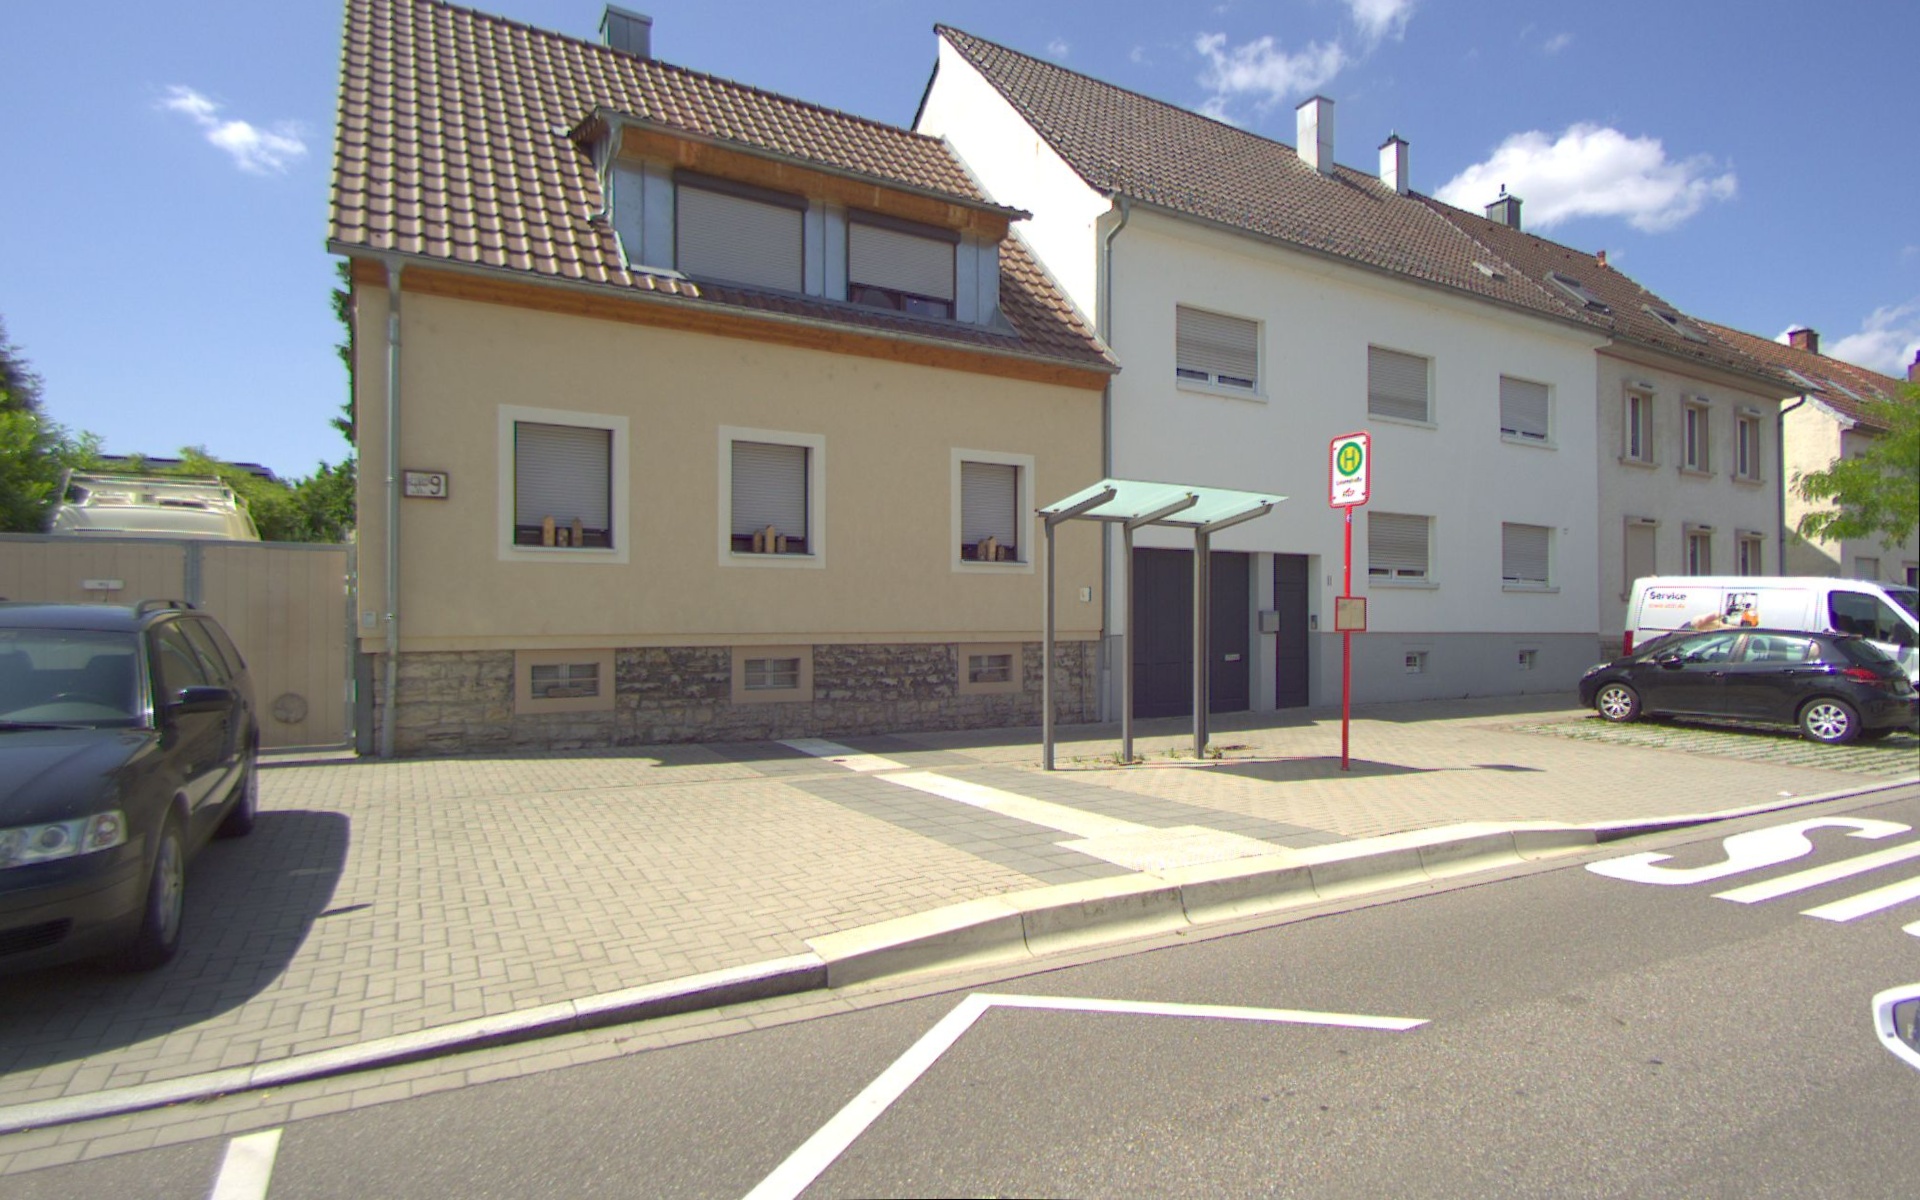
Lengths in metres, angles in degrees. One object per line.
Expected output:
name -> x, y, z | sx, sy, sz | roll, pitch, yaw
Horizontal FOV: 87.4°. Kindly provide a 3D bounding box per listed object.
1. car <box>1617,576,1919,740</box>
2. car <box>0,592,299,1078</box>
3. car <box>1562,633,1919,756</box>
car -> 13.770, 0.840, 15.996 | 2.133, 2.319, 5.140 | 1, 0, -31
car -> -4.585, 0.755, 4.926 | 1.878, 1.537, 4.567 | 1, -1, -29
car -> 11.299, 1.237, 14.612 | 1.880, 1.465, 3.966 | 1, -1, -32
